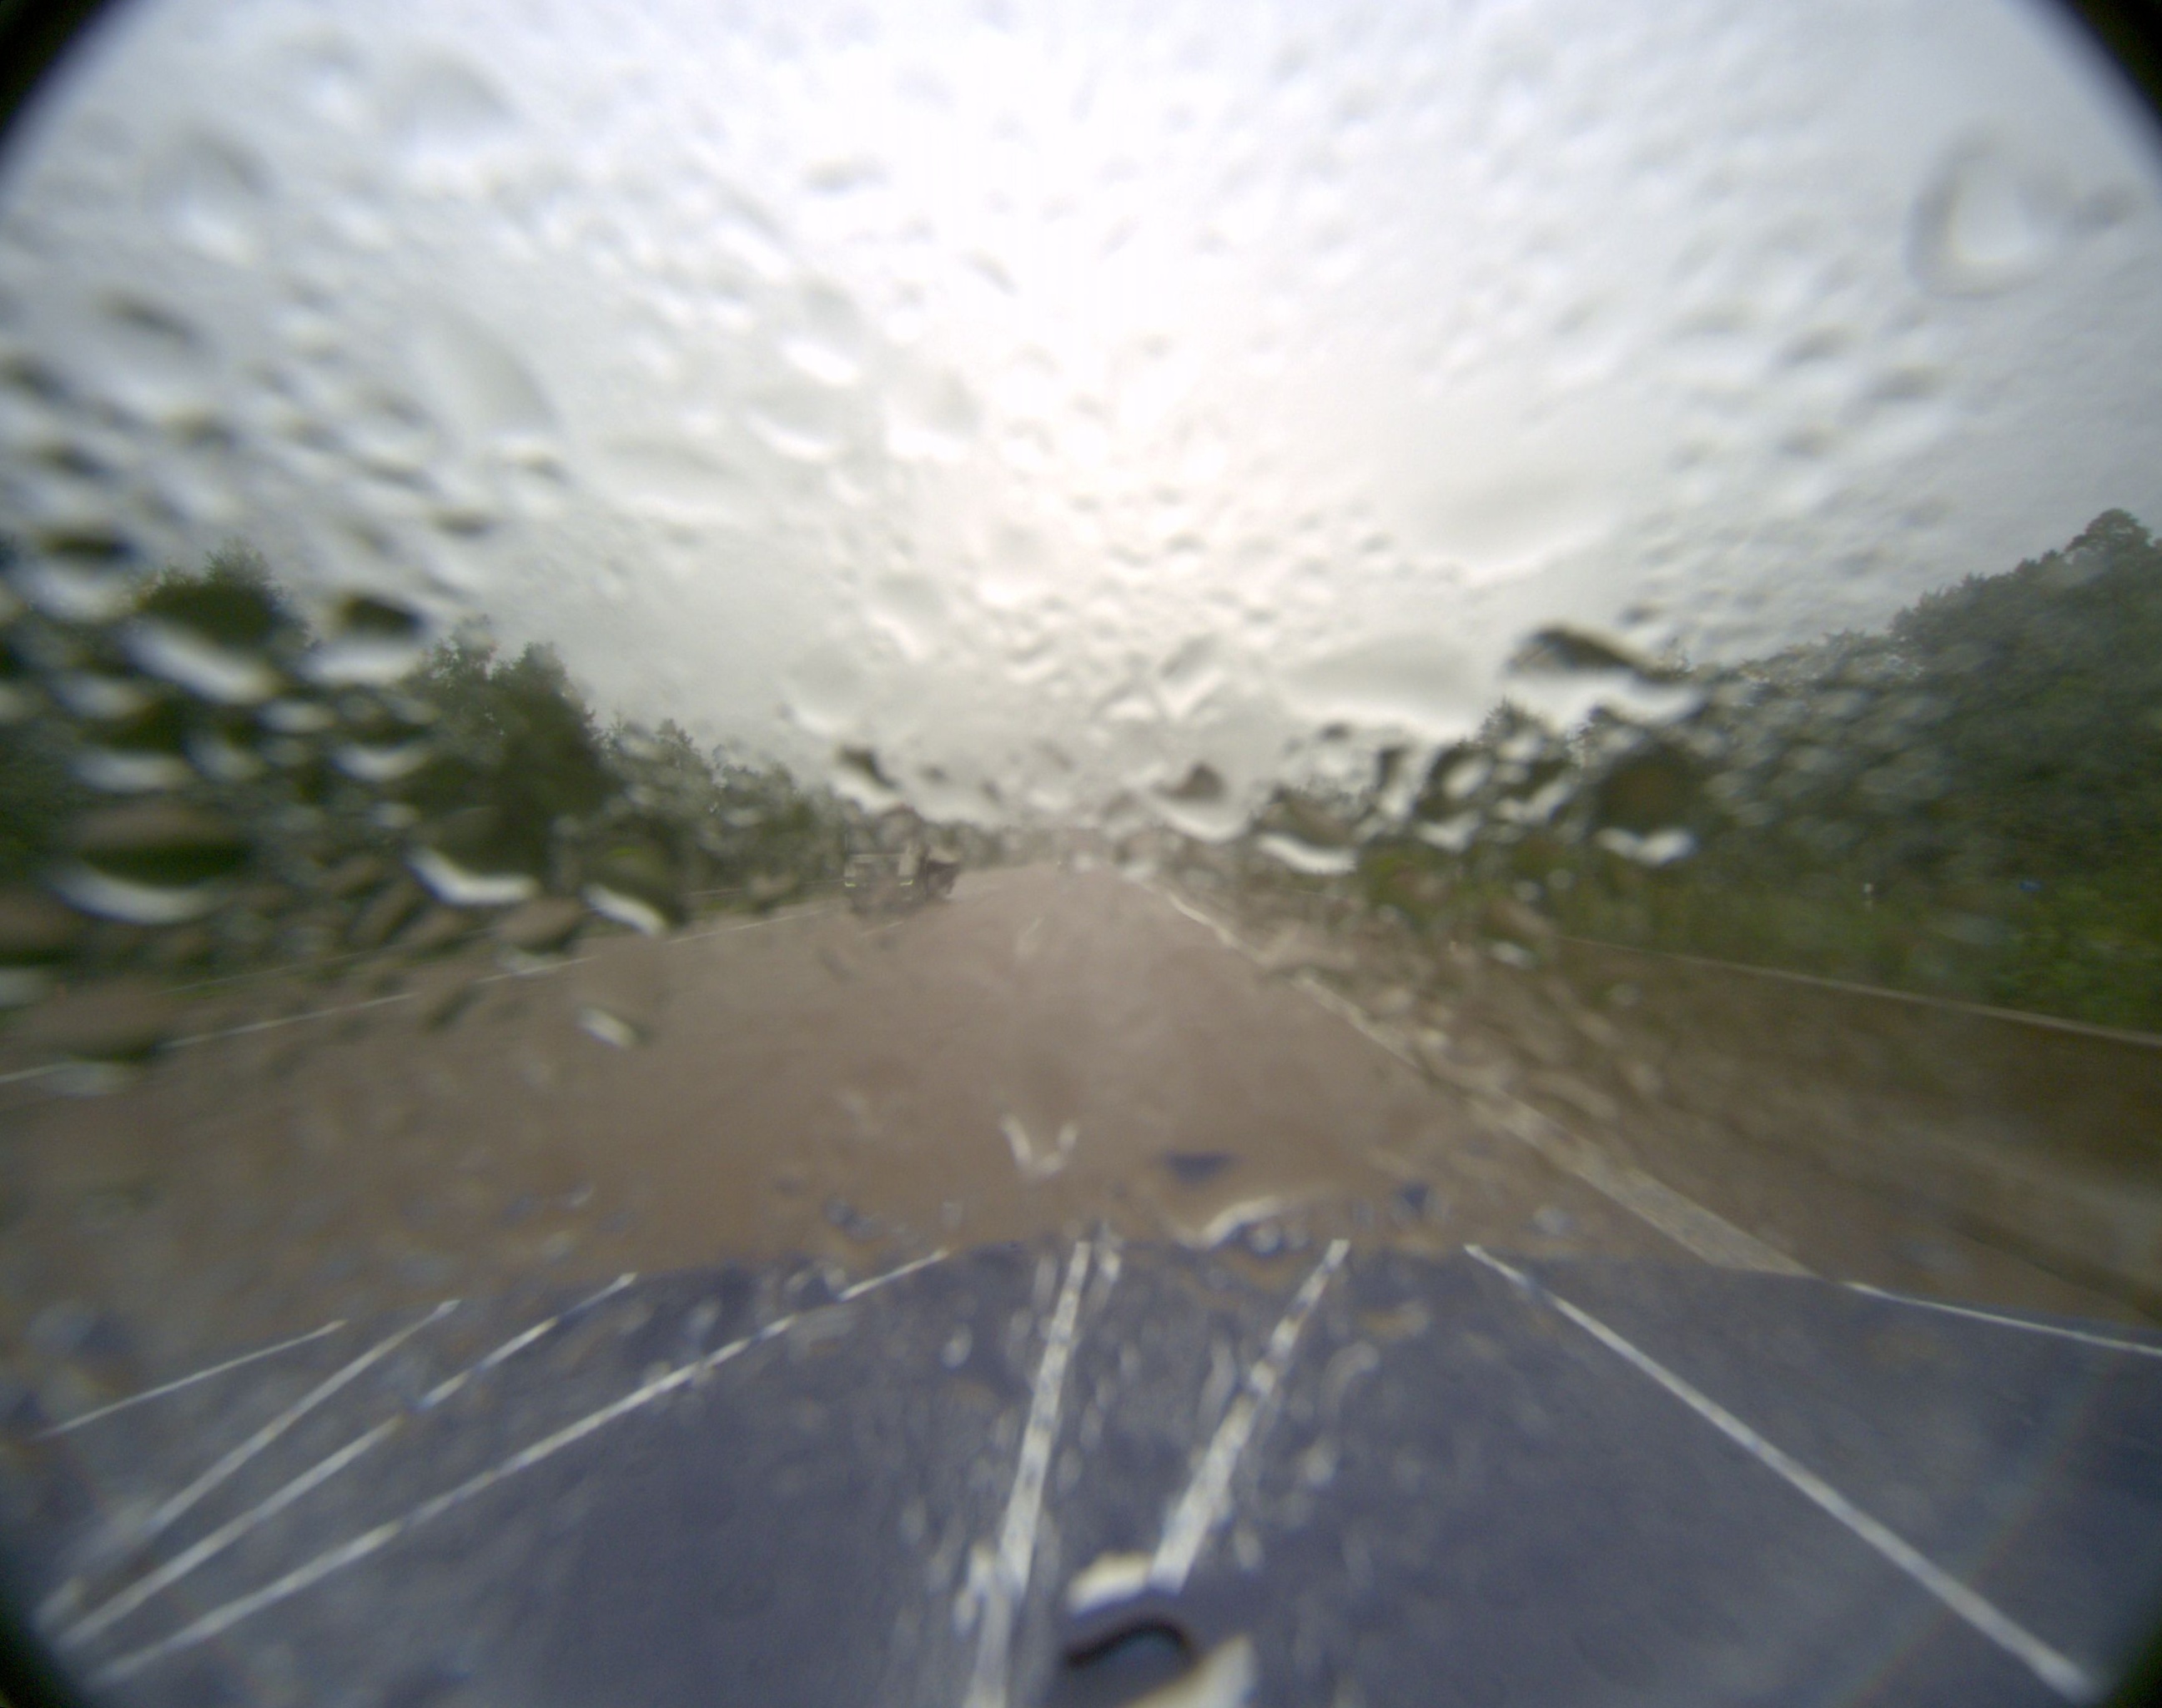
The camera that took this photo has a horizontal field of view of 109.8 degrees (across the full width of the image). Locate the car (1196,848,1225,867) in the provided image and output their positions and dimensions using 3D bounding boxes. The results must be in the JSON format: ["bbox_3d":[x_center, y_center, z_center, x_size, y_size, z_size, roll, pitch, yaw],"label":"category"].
[{"bbox_3d":[14.534,0.322,85.801,2.312,2.002,5.662,-2,0,1],"label":"car"}]

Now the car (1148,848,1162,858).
[{"bbox_3d":[15.729,-0.257,161.552,2.312,2.002,5.151,-2,0,0],"label":"car"}]

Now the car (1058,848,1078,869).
[{"bbox_3d":[-1.324,0.444,79.431,1.998,2.002,4.276,-2,0,0],"label":"car"}]

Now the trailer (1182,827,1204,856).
[{"bbox_3d":[20.863,-2.261,141.544,3.762,4.924,13.688,-2,0,8],"label":"trailer"}]

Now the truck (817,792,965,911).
[{"bbox_3d":[-6.715,-0.101,28.382,3.242,3.708,7.954,-2,0,1],"label":"truck"}]

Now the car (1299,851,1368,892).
[{"bbox_3d":[13.398,0.885,40.628,2.094,2.002,4.798,-2,0,0],"label":"car"}]
